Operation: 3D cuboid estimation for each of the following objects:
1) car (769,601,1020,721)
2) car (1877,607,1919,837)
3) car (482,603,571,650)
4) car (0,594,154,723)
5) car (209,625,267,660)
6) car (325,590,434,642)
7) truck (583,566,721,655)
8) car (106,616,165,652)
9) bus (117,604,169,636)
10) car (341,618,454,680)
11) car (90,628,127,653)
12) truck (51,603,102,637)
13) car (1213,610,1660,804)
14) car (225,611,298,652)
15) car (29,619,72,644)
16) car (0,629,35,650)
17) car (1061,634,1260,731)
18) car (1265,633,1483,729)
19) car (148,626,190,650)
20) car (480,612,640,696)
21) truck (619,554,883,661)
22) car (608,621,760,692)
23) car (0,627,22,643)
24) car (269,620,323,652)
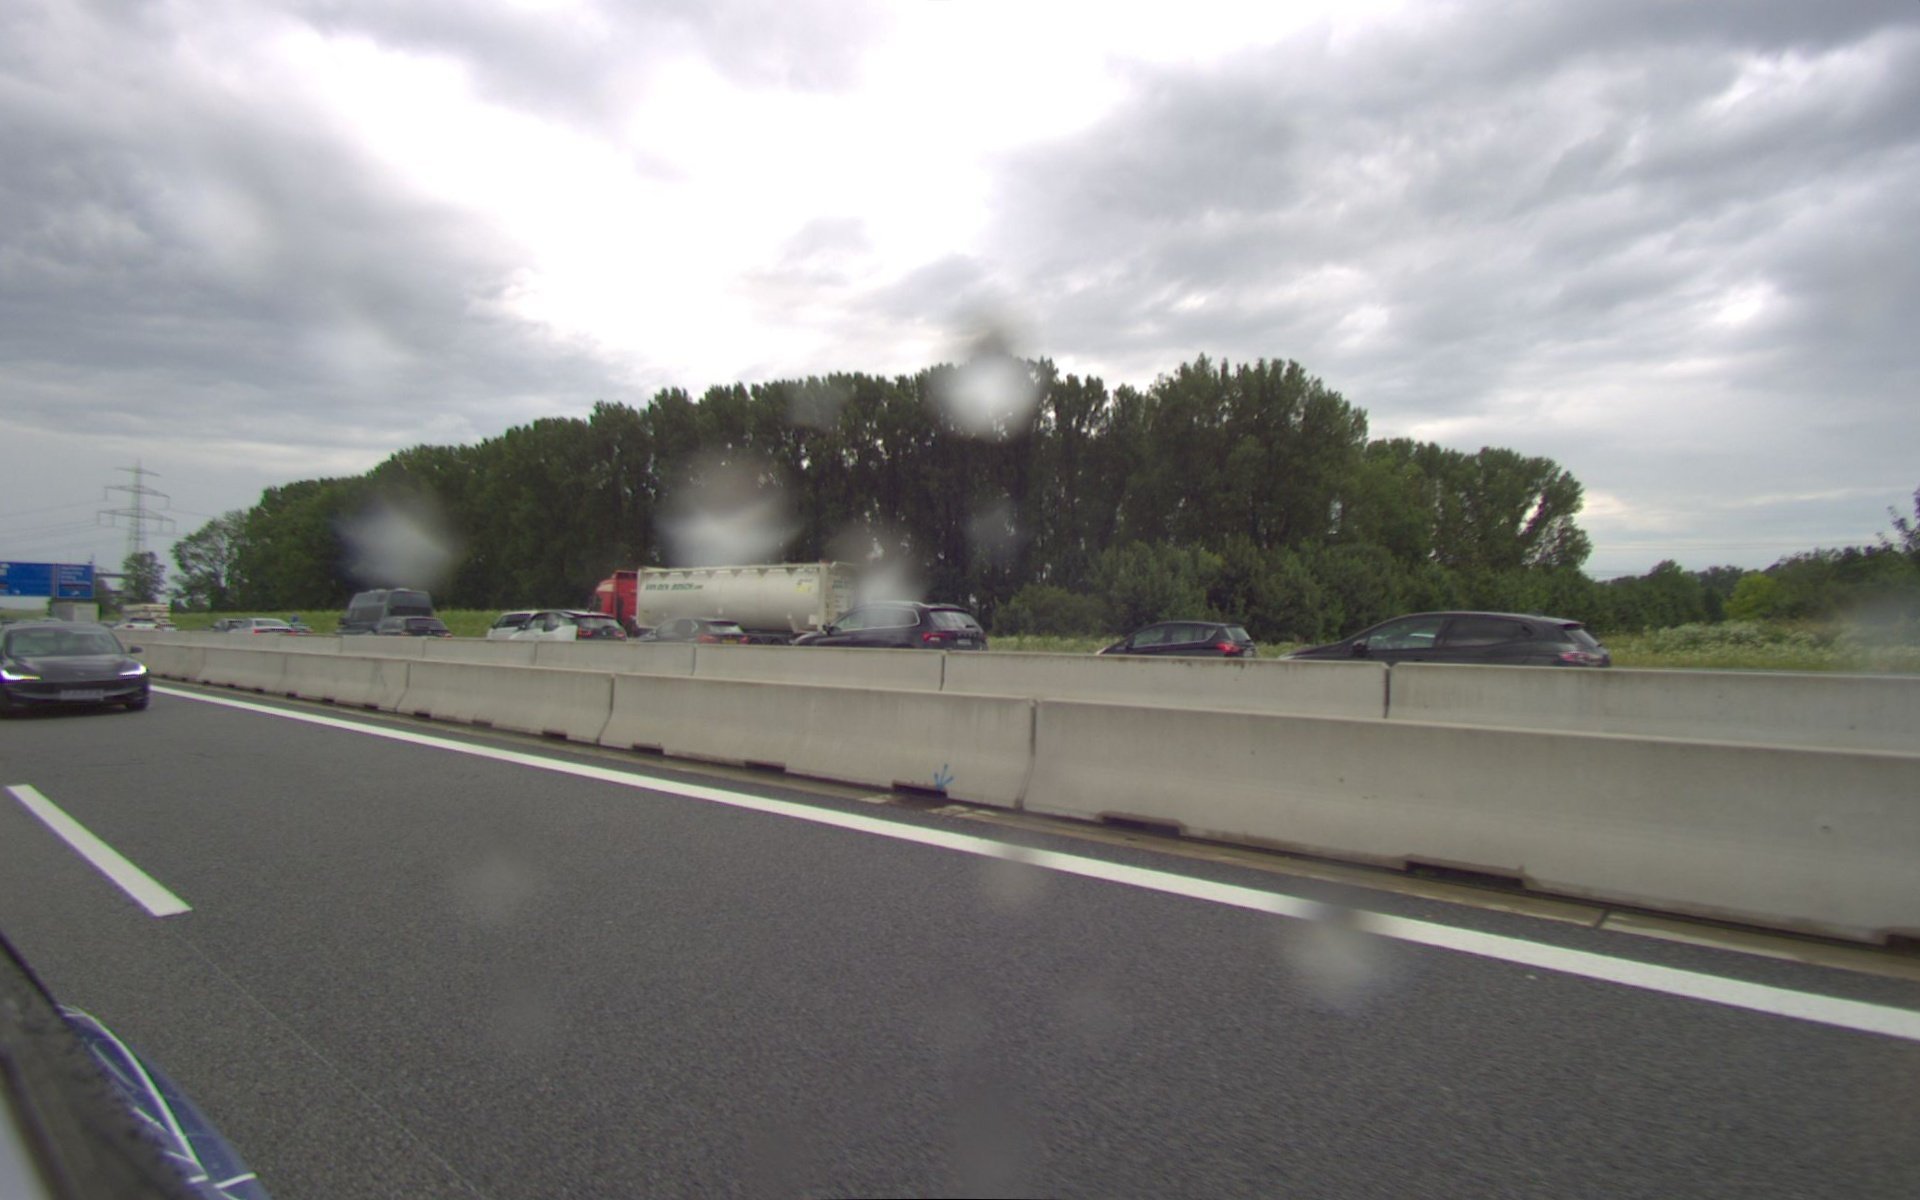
[{"bbox_3d":[-1.332,1.040,18.995,4.694,1.982,1.972,-1,-1,42],"label":"car"},{"bbox_3d":[10.548,1.030,8.079,4.694,1.982,1.972,-1,-1,42],"label":"car"},{"bbox_3d":[-18.971,1.141,44.238,4.211,1.962,1.973,-1,-1,41],"label":"car"},{"bbox_3d":[-15.142,0.879,16.810,5.162,1.834,1.972,-1,-1,42],"label":"car"},{"bbox_3d":[-44.073,2.536,61.735,4.225,2.029,1.973,-1,-1,41],"label":"car"},{"bbox_3d":[-26.286,0.745,45.695,6.814,2.181,2.235,-1,-1,42],"label":"car"},{"bbox_3d":[-13.913,0.494,45.548,6.316,3.740,3.117,-1,-1,42],"label":"truck"},{"bbox_3d":[-48.932,2.006,60.037,4.262,2.029,1.973,-1,-1,41],"label":"car"},{"bbox_3d":[-88.470,2.192,109.506,9.959,3.358,2.802,-1,-1,41],"label":"bus"},{"bbox_3d":[-19.422,1.635,34.887,4.694,1.982,1.972,-1,-1,42],"label":"car"},{"bbox_3d":[-73.502,3.453,87.348,3.996,2.029,1.787,-1,-1,40],"label":"car"},{"bbox_3d":[-118.741,2.638,135.881,13.941,4.345,3.116,-1,-1,40],"label":"truck"},{"bbox_3d":[5.791,1.138,12.686,4.694,1.982,1.972,-1,-1,42],"label":"car"},{"bbox_3d":[-31.357,1.402,45.385,3.998,1.732,1.785,-1,-1,41],"label":"car"},{"bbox_3d":[-76.245,2.632,84.786,5.177,2.029,1.973,-1,-1,40],"label":"car"},{"bbox_3d":[-86.833,3.600,93.087,4.630,1.869,1.974,-1,-1,39],"label":"car"},{"bbox_3d":[4.713,1.858,24.089,4.225,2.029,1.973,-1,-1,41],"label":"car"},{"bbox_3d":[9.864,1.833,24.302,4.423,2.029,1.972,-1,-1,42],"label":"car"},{"bbox_3d":[-69.937,3.348,89.464,4.804,2.029,1.974,-1,-1,40],"label":"car"},{"bbox_3d":[-10.468,1.320,26.295,4.694,1.982,1.972,-1,-1,42],"label":"car"},{"bbox_3d":[-8.935,0.365,41.231,13.292,3.774,3.116,-1,-1,41],"label":"truck"},{"bbox_3d":[-8.335,1.614,30.336,4.928,1.918,1.973,-1,-1,41],"label":"car"},{"bbox_3d":[-121.776,4.425,129.478,4.635,1.948,1.973,-1,-1,40],"label":"car"},{"bbox_3d":[-44.887,2.412,68.370,4.225,2.029,1.973,-1,-1,41],"label":"car"}]
